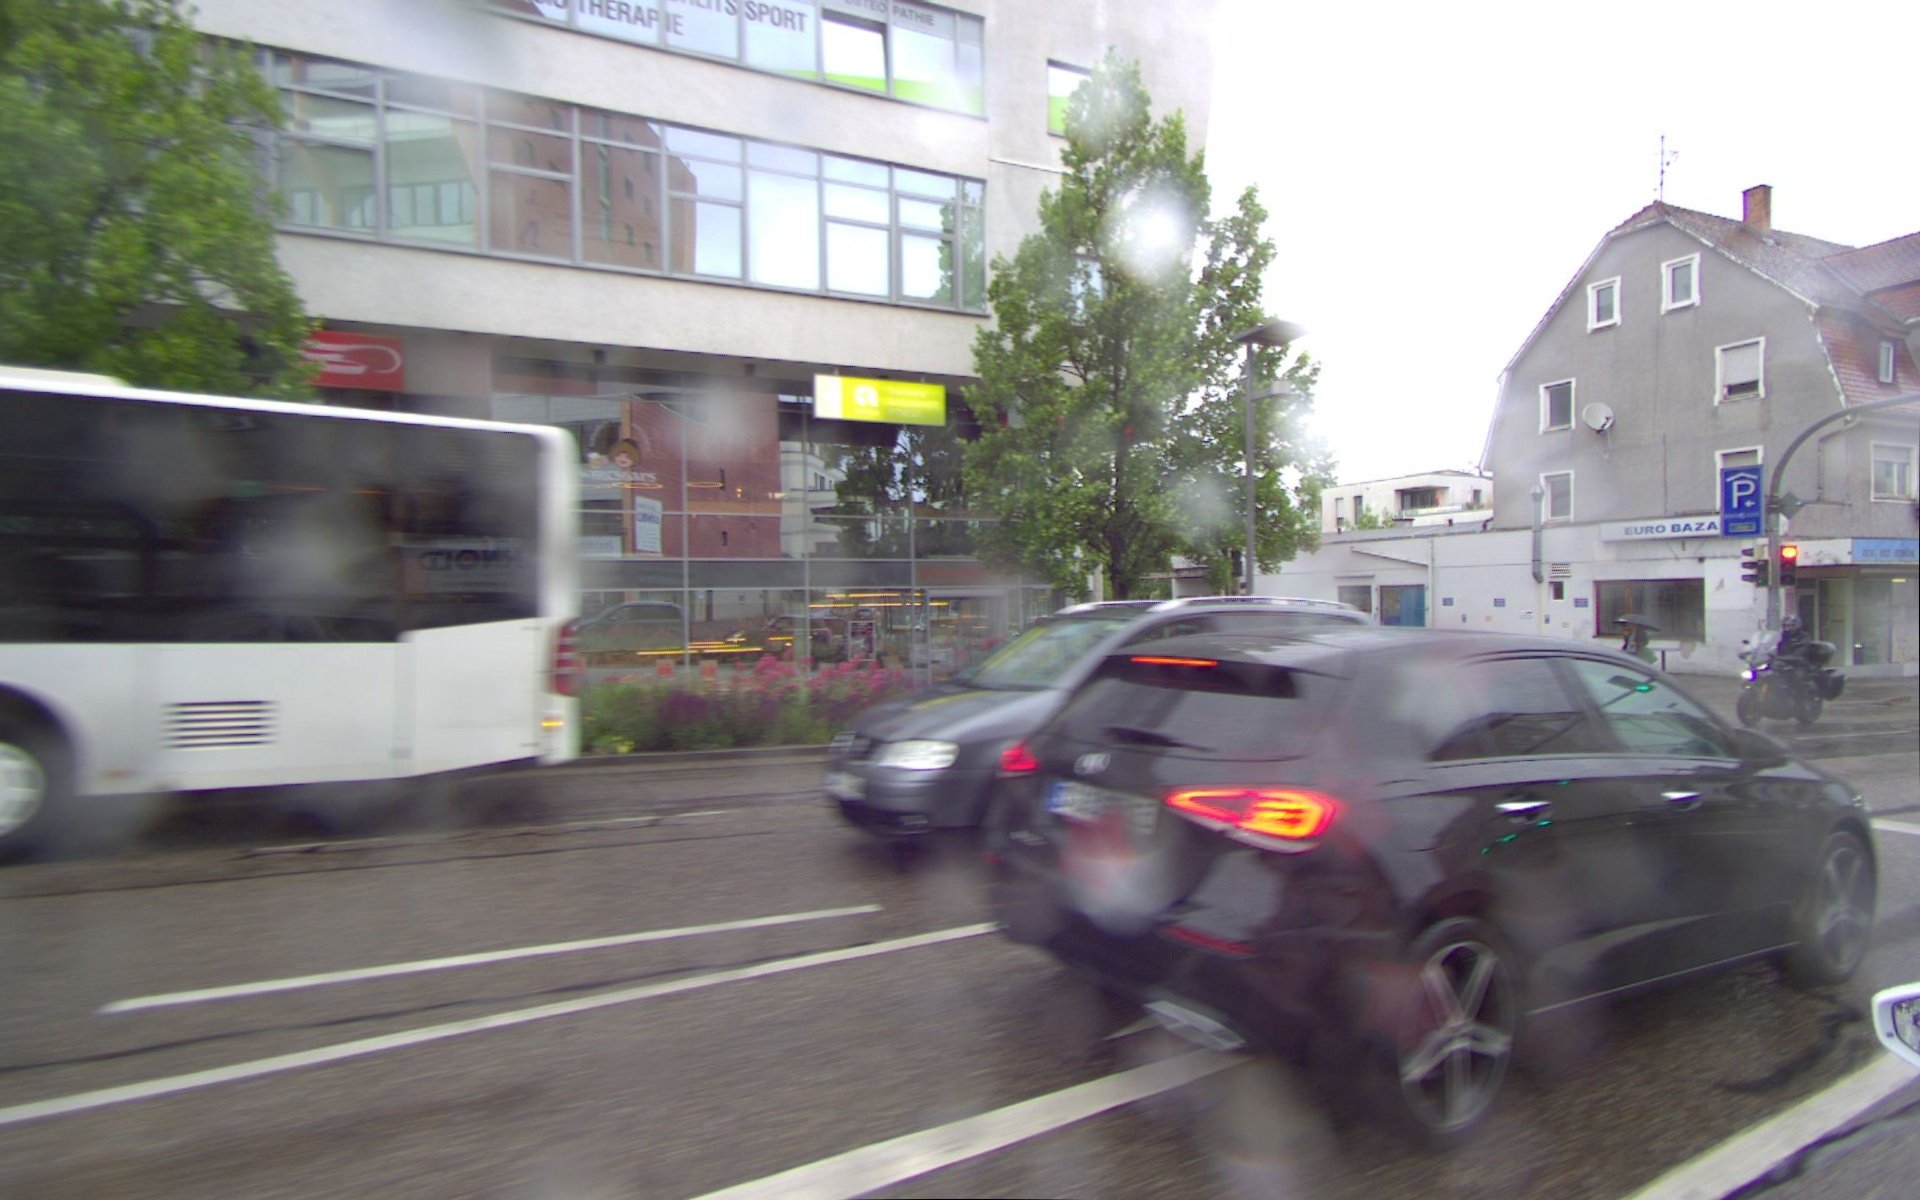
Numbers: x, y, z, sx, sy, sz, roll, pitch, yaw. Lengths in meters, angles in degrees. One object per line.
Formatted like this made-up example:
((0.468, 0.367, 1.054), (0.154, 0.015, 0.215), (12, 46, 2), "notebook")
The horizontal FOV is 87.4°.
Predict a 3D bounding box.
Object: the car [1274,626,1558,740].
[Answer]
((6.194, 1.067, 13.626), (3.554, 1.355, 1.635), (2, -1, -26), "car")

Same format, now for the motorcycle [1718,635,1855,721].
((13.416, 1.237, 16.298), (2.156, 1.300, 0.905), (2, -1, -25), "motorcycle")

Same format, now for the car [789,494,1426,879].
((1.100, 0.520, 7.004), (4.228, 2.040, 1.628), (2, -1, -26), "car")

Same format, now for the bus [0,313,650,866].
((-8.200, -0.102, 5.968), (11.839, 3.140, 2.883), (2, -1, -26), "bus")

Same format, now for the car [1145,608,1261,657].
((9.416, 1.268, 38.908), (4.101, 1.778, 1.748), (1, -1, -21), "car")

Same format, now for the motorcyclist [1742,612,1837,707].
((13.496, 0.952, 16.346), (1.124, 1.475, 0.783), (1, -1, -25), "motorcyclist")

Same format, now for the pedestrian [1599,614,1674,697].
((15.191, 1.232, 22.570), (1.218, 1.812, 0.922), (1, -1, -27), "pedestrian")

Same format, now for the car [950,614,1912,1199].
((2.170, 0.835, 4.234), (4.152, 1.469, 1.706), (2, -1, -32), "car")
